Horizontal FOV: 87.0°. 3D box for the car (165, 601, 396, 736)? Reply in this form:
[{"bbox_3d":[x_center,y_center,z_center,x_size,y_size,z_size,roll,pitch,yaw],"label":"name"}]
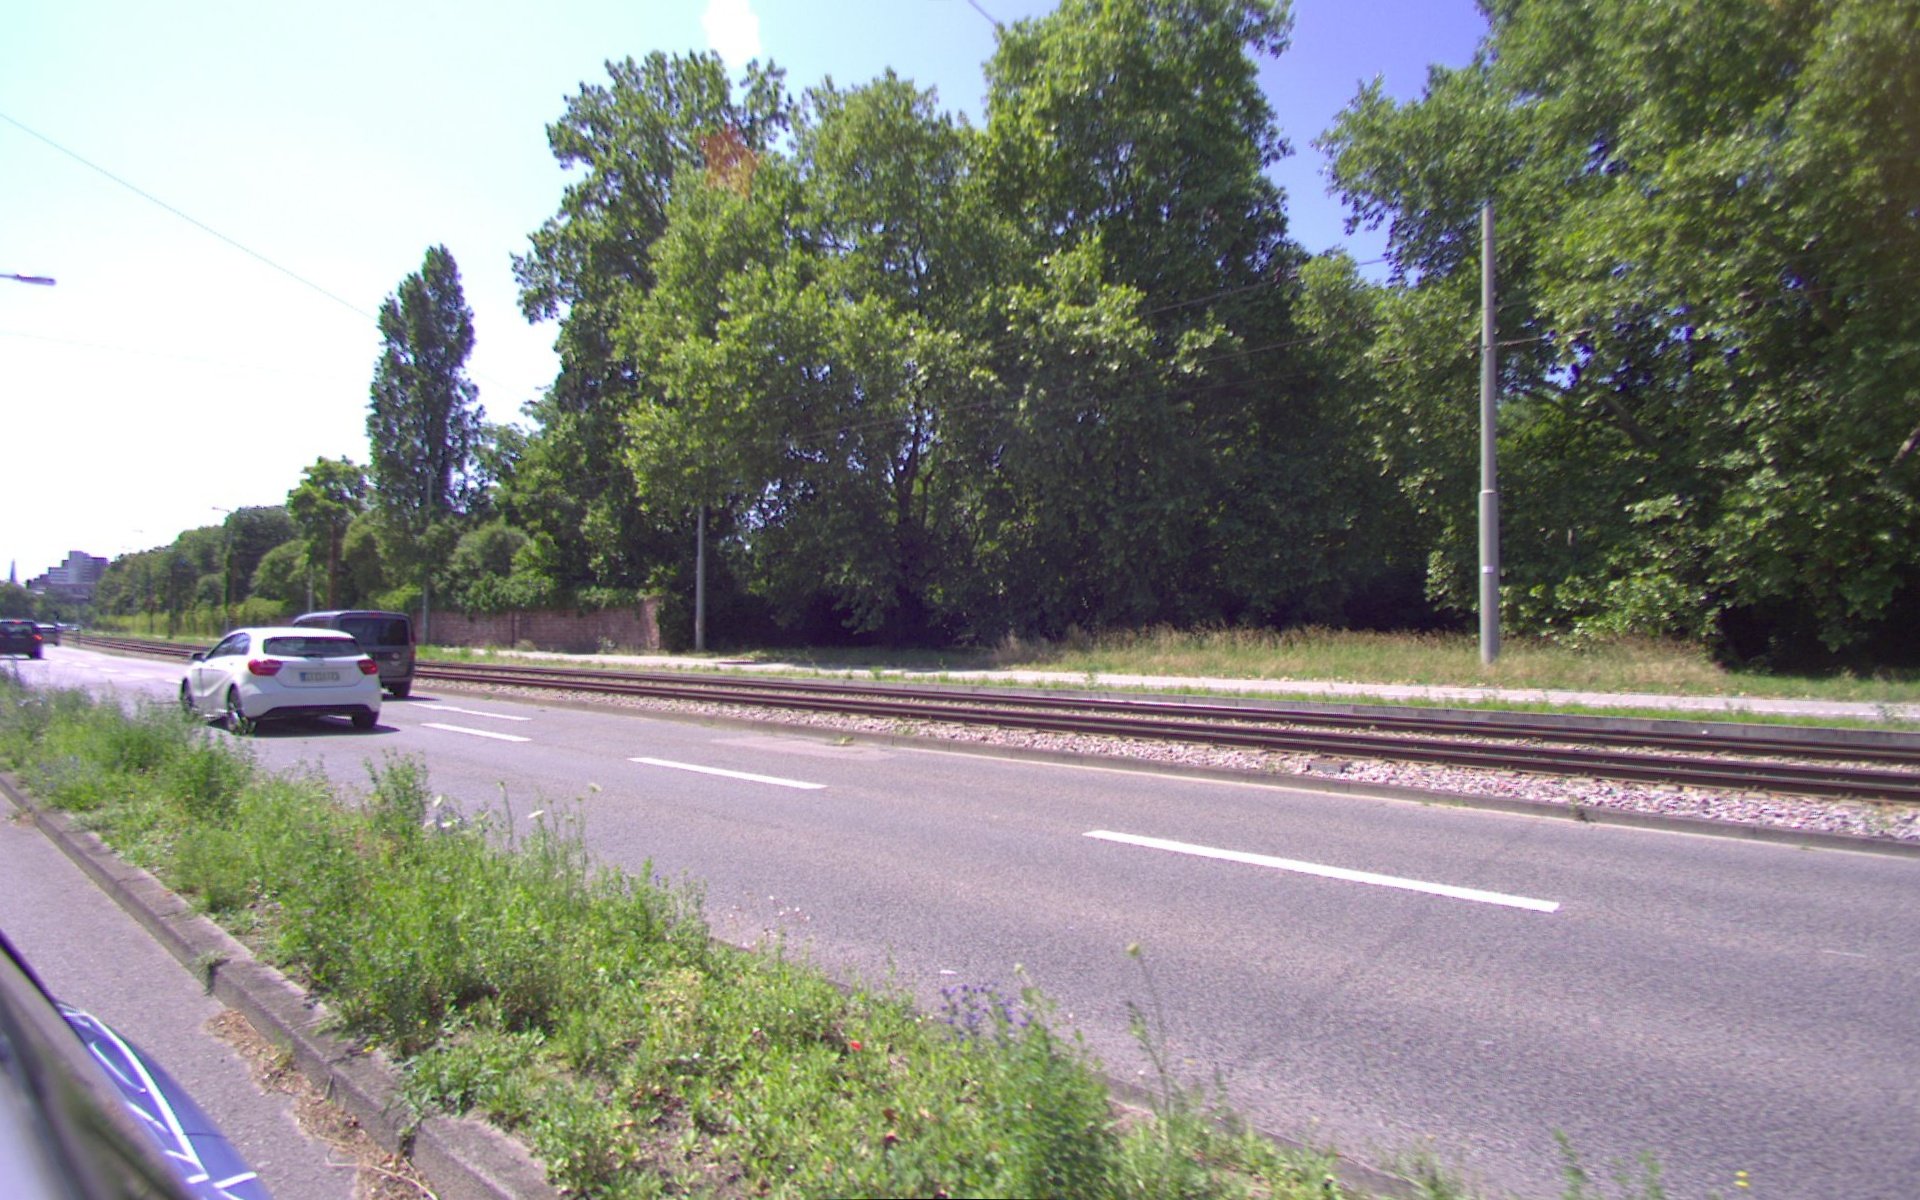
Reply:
[{"bbox_3d":[-10.226,0.962,15.123,4.035,1.752,1.811,-1,-3,41],"label":"car"}]

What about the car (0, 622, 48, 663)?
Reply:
[{"bbox_3d":[-42.397,1.888,45.193,4.790,1.726,1.810,-2,-3,41],"label":"car"}]

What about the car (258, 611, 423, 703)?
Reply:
[{"bbox_3d":[-13.743,1.216,22.338,4.613,1.815,1.810,-2,-4,42],"label":"car"}]

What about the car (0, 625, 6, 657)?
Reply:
[{"bbox_3d":[-55.756,2.336,57.744,1.808,1.770,4.491,3,-4,-44],"label":"car"}]
